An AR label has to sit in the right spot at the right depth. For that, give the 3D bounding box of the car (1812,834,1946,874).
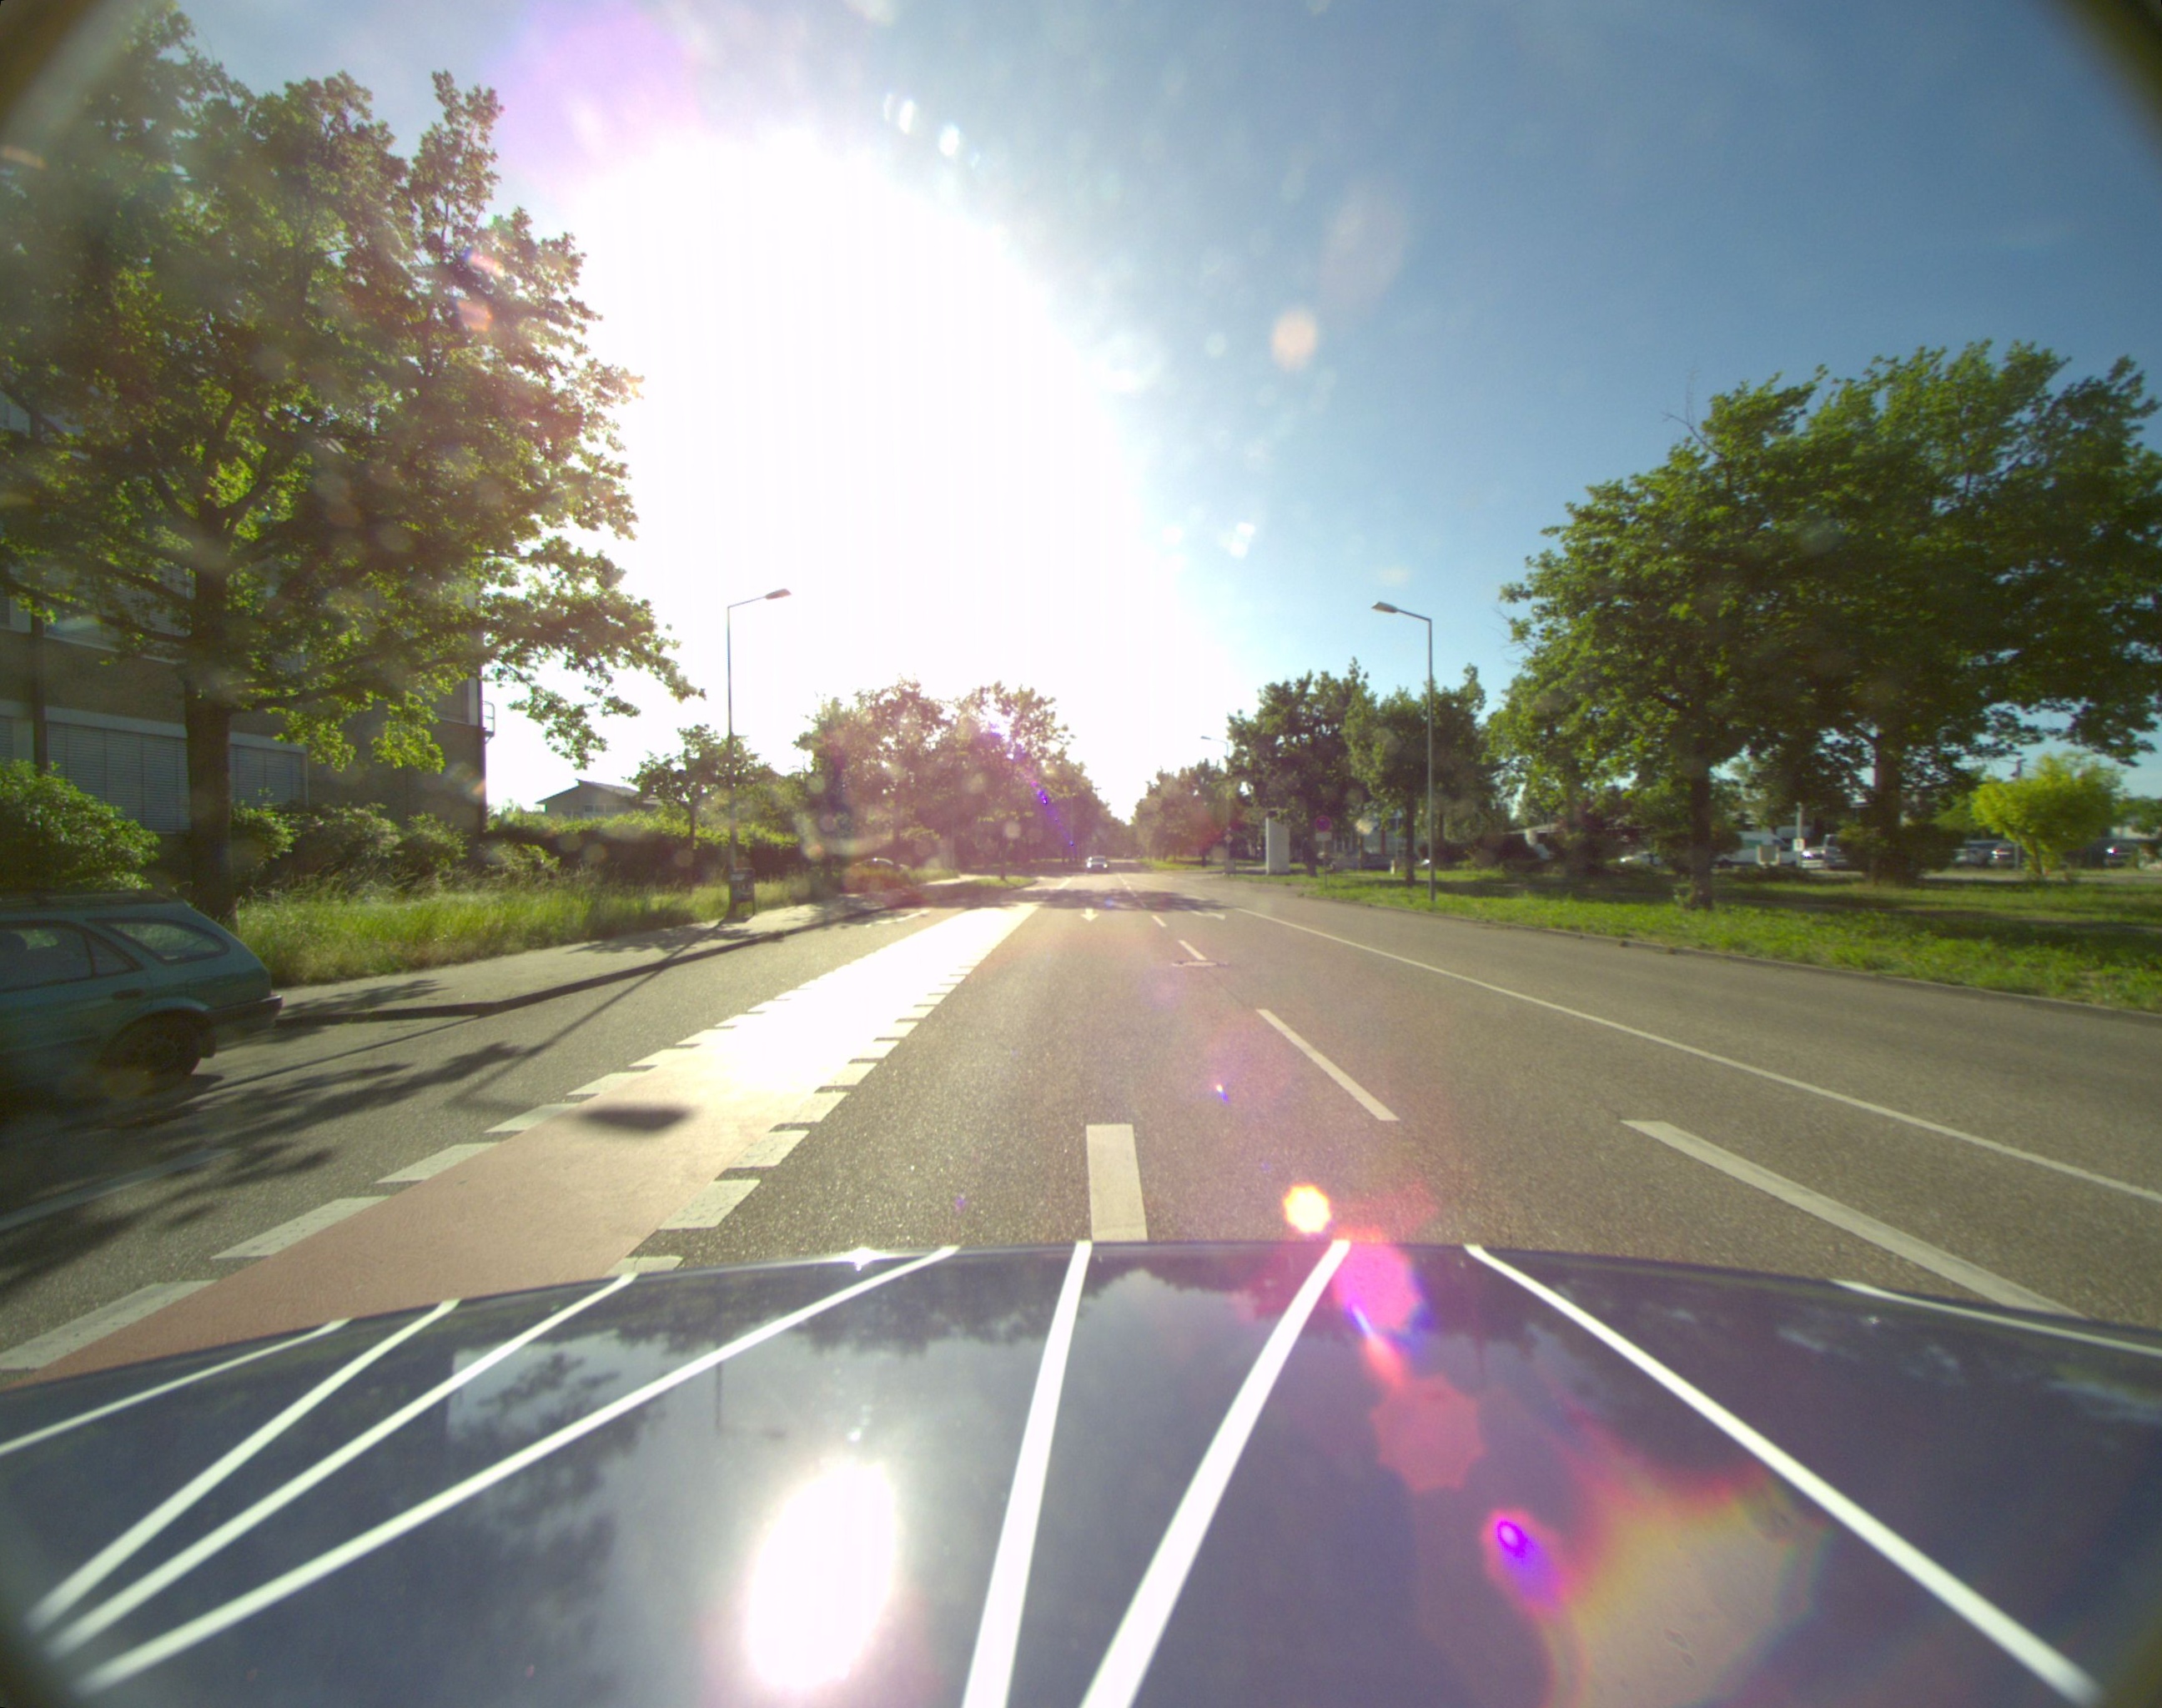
[{"bbox_3d":[40.052,0.007,38.221,4.642,1.771,1.990,-2,1,0],"label":"car"}]

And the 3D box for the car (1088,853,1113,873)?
[{"bbox_3d":[1.683,0.728,63.130,1.652,1.460,3.943,-2,0,7],"label":"car"}]

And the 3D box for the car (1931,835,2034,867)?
[{"bbox_3d":[52.079,-0.193,43.961,3.860,1.661,1.762,-2,1,0],"label":"car"}]

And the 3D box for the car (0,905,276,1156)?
[{"bbox_3d":[-7.532,1.134,4.217,1.706,1.460,4.141,-1,-1,0],"label":"car"}]

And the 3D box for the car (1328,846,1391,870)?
[{"bbox_3d":[23.917,0.304,65.369,4.637,1.822,2.000,-2,1,0],"label":"car"}]

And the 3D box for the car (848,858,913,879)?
[{"bbox_3d":[-15.674,1.134,59.501,4.481,1.510,1.898,0,1,12],"label":"car"}]

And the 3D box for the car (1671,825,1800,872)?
[{"bbox_3d":[39.890,-0.327,46.398,6.023,2.540,2.409,-2,1,-4],"label":"car"}]

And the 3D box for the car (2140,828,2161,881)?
[{"bbox_3d":[33.880,-0.075,22.040,3.817,1.562,1.736,-2,-1,0],"label":"car"}]
